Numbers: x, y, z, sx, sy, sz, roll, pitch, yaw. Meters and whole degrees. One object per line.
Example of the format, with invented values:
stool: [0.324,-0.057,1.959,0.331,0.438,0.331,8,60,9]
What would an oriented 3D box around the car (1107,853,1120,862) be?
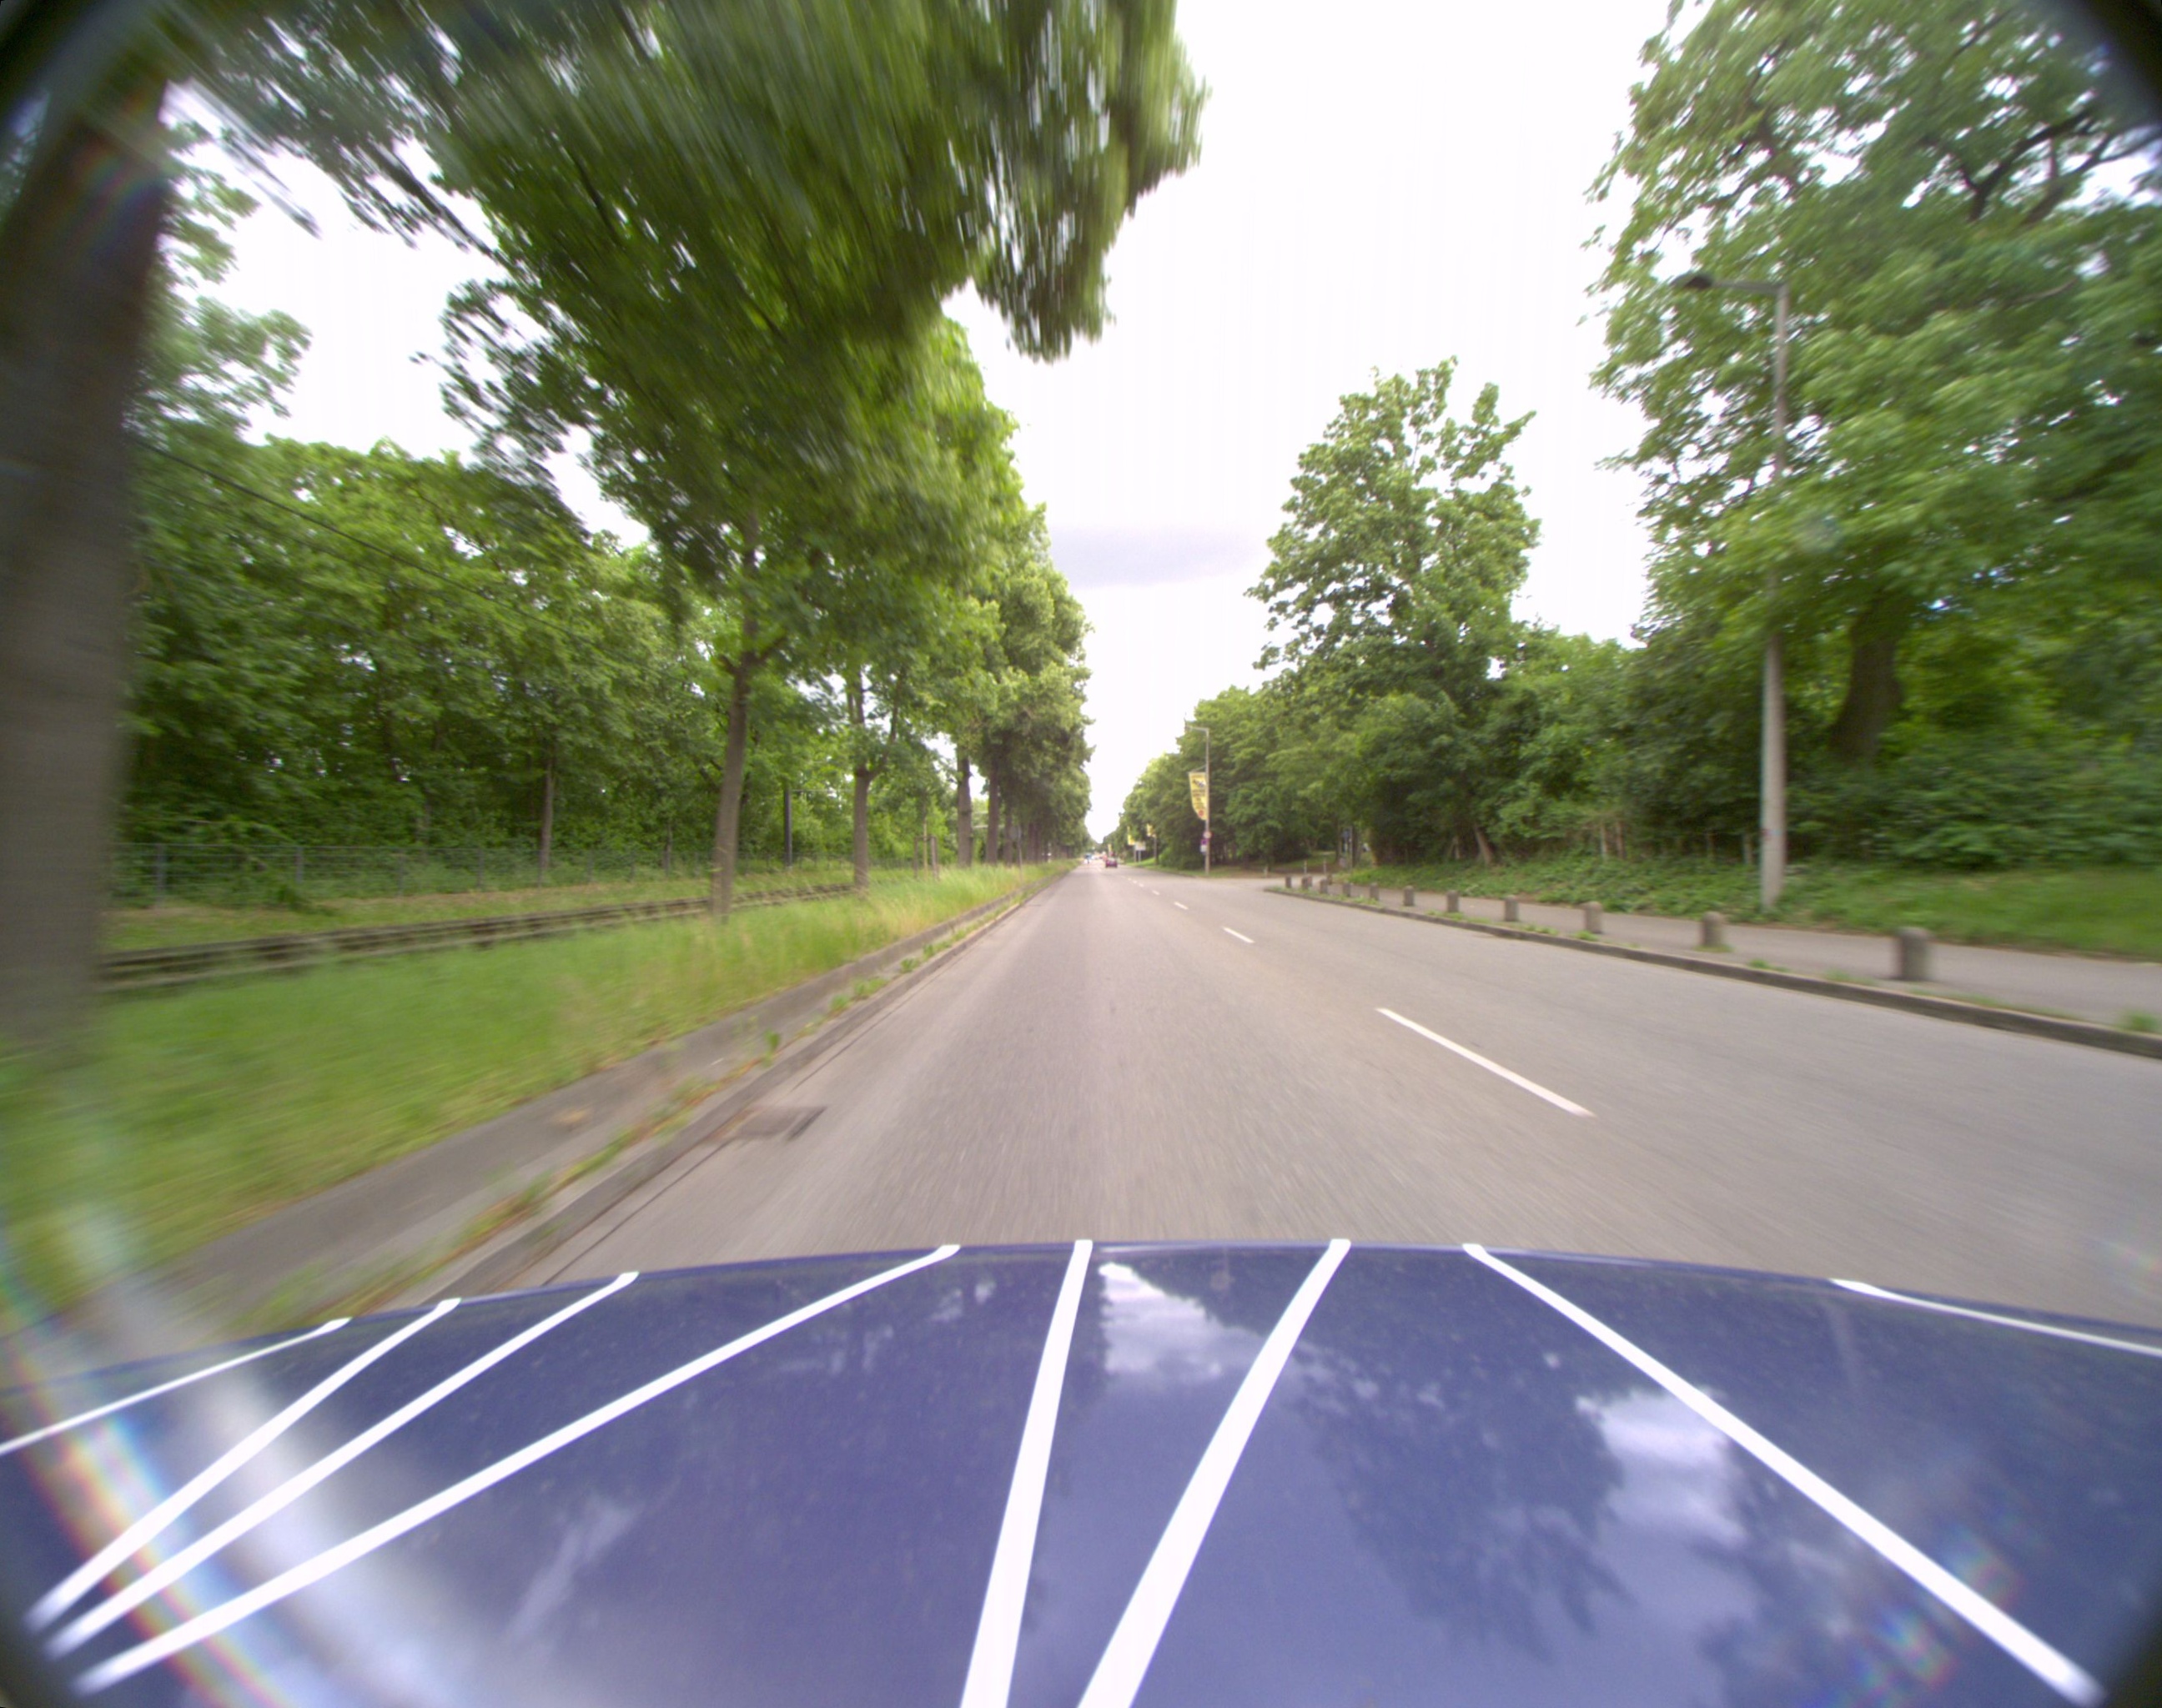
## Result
car: [4.935,0.516,116.214,1.721,1.420,4.196,1,0,-1]

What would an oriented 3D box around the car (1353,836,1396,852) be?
car: [29.357,-0.982,76.073,1.653,1.477,3.993,-2,0,-23]
